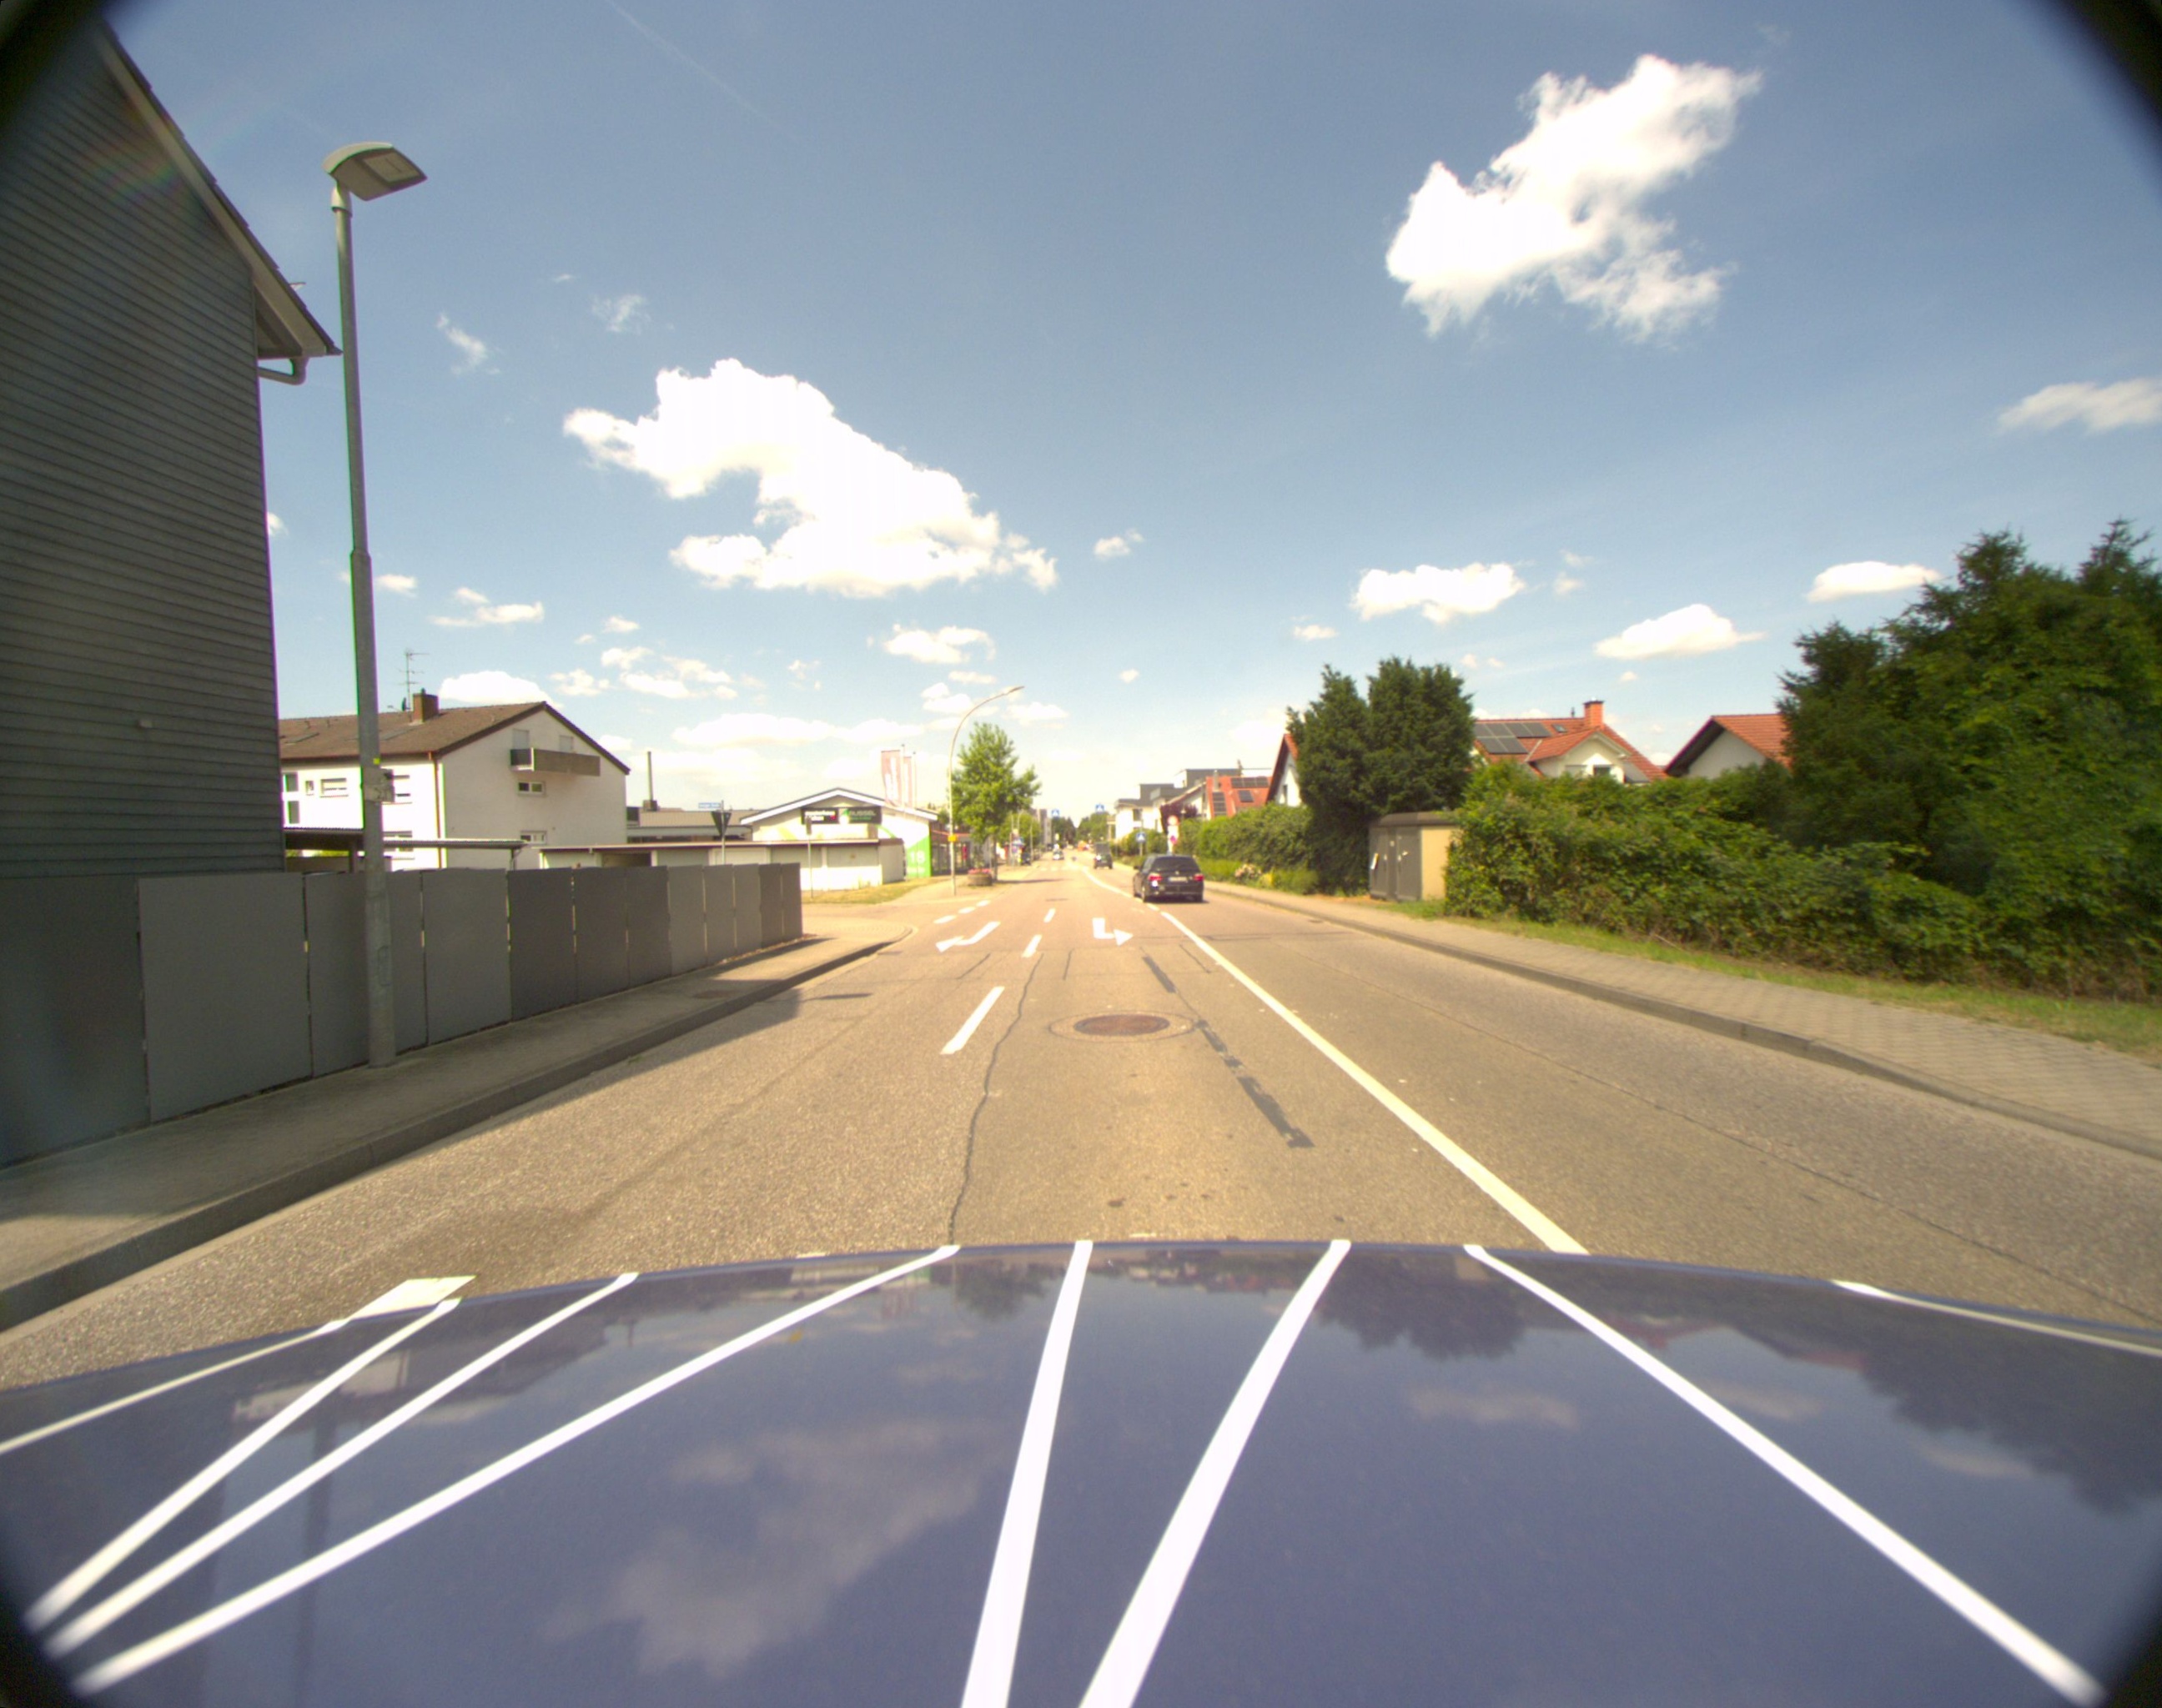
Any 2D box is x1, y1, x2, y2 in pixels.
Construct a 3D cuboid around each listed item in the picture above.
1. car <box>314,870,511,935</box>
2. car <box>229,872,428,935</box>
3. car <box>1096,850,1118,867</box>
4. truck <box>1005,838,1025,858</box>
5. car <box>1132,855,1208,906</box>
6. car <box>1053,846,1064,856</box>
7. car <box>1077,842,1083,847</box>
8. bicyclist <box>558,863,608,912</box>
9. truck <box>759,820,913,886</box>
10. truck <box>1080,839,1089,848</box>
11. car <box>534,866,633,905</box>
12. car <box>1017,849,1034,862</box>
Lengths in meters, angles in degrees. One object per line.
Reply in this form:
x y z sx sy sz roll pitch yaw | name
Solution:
-18.573 1.280 21.415 1.741 1.638 4.217 -1 -1 2 | car
-21.054 1.329 21.506 1.741 1.577 3.854 -1 -1 2 | car
2.342 0.386 68.547 1.785 1.425 3.871 0 0 -1 | car
-9.167 -0.821 104.784 2.580 2.746 6.329 0 1 -7 | truck
2.737 0.760 24.409 1.868 1.434 4.670 0 1 0 | car
-3.593 -0.449 121.108 1.729 1.484 3.759 0 1 -1 | car
-0.381 -2.789 229.298 1.799 1.480 3.613 0 1 1 | car
-17.227 1.149 26.293 1.111 1.620 0.805 -3 1 -3 | bicyclist
-14.433 -0.108 45.237 8.192 3.553 2.676 -2 2 -2 | truck
1.137 -3.396 242.860 2.864 2.695 6.791 0 1 2 | truck
-22.293 1.374 34.273 1.679 1.494 4.131 -2 1 0 | car
-6.544 0.183 89.866 1.729 1.484 3.758 0 1 -2 | car
